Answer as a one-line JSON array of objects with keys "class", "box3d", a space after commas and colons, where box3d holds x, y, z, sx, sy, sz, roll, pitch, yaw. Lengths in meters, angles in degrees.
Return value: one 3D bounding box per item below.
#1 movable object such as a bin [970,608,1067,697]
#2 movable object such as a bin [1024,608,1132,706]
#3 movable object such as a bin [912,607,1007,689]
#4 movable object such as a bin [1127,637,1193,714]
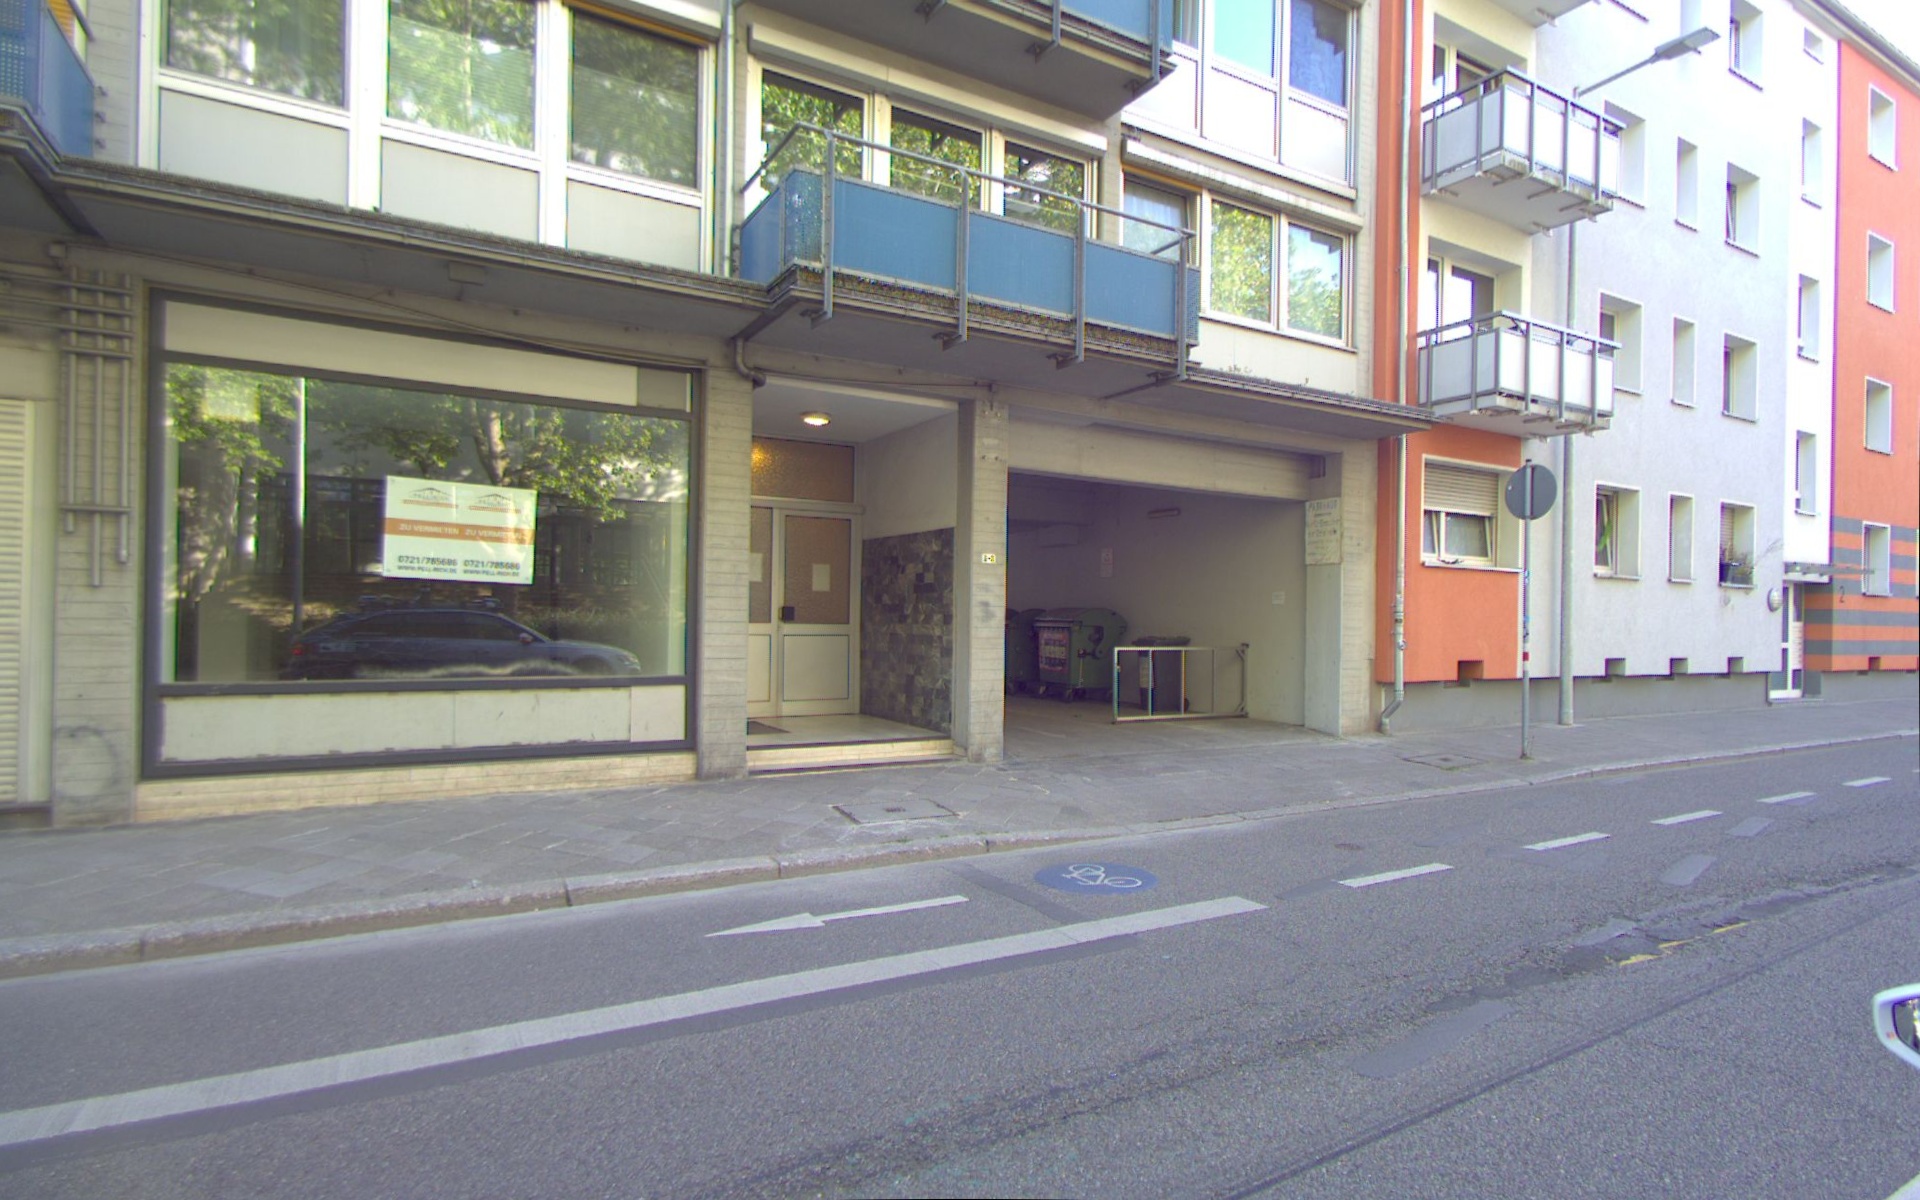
[{"class": "movable object such as a bin", "box3d": [0.991, 0.868, 17.178, 1.119, 1.449, 1.322, 1, 0, -28]}, {"class": "movable object such as a bin", "box3d": [1.842, 0.863, 15.855, 1.128, 1.449, 1.342, 1, 0, -28]}, {"class": "movable object such as a bin", "box3d": [-0.037, 0.866, 18.880, 1.119, 1.449, 1.666, 1, 0, -28]}, {"class": "movable object such as a bin", "box3d": [2.892, 1.076, 14.536, 0.695, 1.055, 0.593, 2, 0, -30]}]
